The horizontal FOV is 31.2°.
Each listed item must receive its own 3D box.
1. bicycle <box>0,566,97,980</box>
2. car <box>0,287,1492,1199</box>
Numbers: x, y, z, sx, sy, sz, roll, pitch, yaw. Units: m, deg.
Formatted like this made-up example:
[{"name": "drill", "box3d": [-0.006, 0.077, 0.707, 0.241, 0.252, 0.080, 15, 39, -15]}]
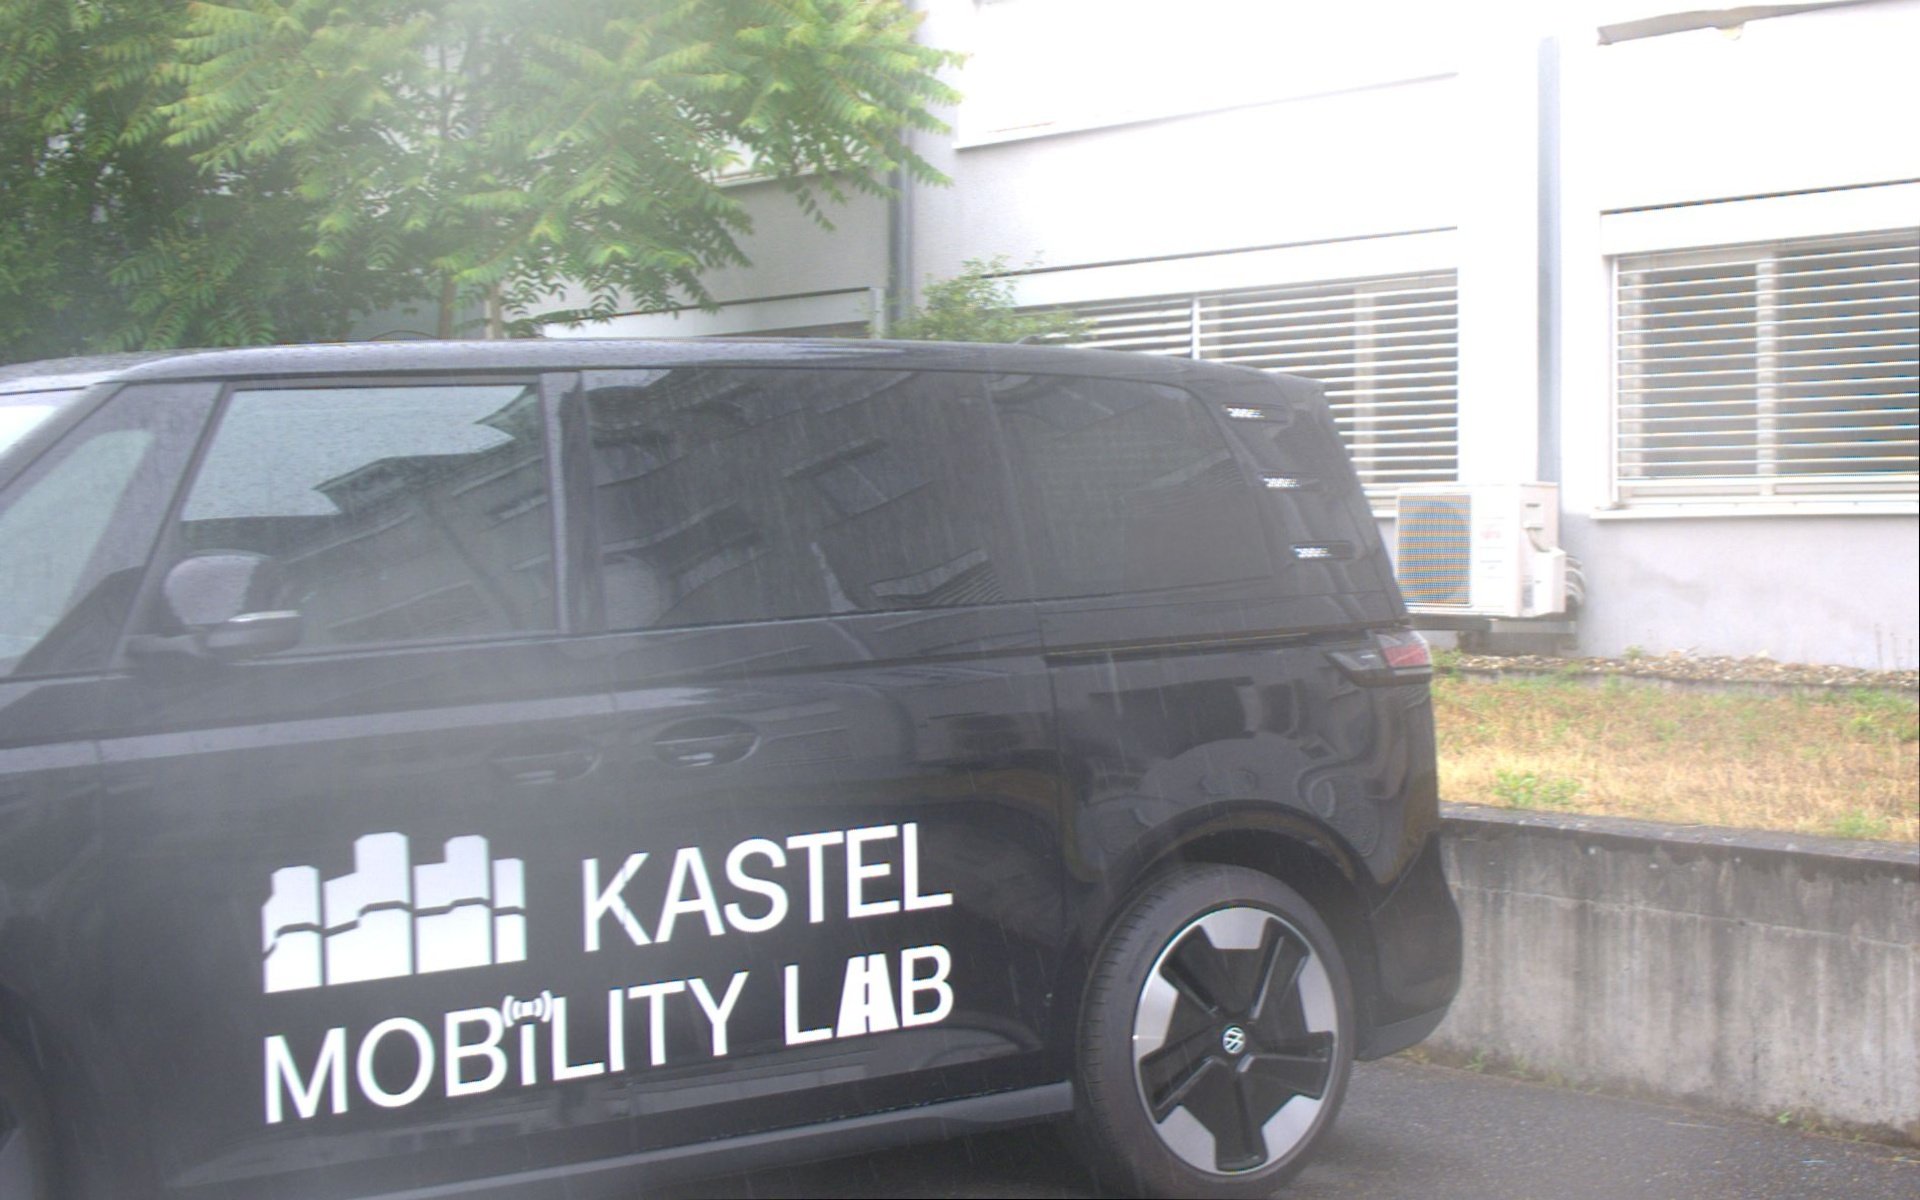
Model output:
[{"name": "bicycle", "box3d": [-5.136, 0.730, 13.733, 3.214, 1.697, 0.631, -1, 1, -32]}, {"name": "car", "box3d": [-1.239, 0.409, 7.123, 4.509, 1.891, 2.046, -1, 1, -37]}]
